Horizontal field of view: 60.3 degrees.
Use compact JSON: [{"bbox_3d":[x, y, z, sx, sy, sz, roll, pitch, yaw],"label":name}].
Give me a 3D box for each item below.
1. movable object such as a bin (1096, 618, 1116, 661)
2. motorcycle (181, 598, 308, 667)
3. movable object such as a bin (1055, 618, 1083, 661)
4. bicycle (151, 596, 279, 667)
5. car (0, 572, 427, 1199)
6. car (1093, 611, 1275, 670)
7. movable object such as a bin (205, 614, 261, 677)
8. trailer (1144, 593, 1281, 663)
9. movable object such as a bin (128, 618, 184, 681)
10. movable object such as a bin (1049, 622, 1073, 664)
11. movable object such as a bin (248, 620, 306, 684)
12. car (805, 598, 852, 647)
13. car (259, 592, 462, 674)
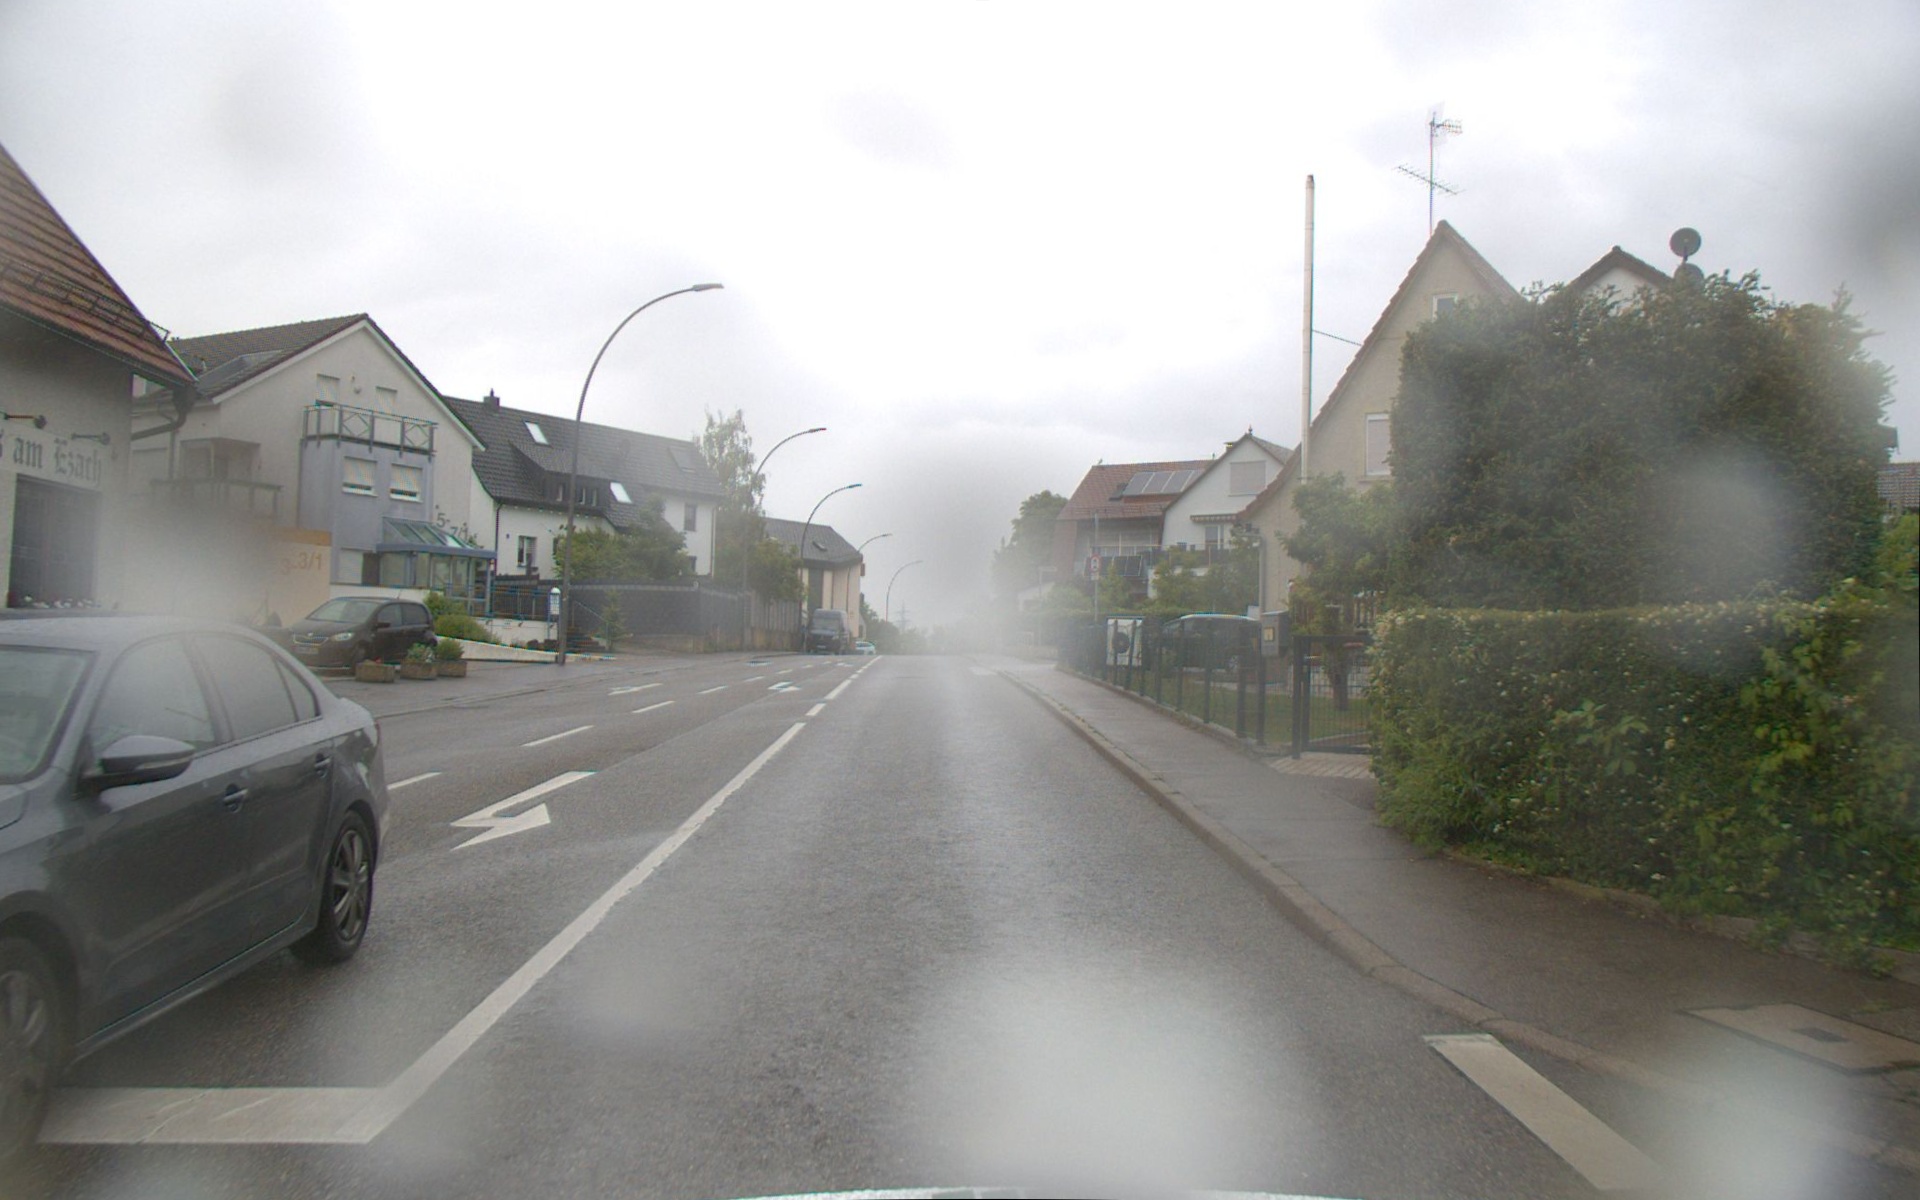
[{"bbox_3d":[3.583,0.965,40.563,0.433,1.039,0.525,-1,-1,9],"label":"movable object such as a bin"},{"bbox_3d":[-13.358,0.611,30.898,2.066,1.133,0.780,4,-1,15],"label":"motorcycle"},{"bbox_3d":[2.678,0.965,40.586,0.518,1.039,0.733,-1,-1,18],"label":"movable object such as a bin"},{"bbox_3d":[-13.584,0.578,30.166,2.053,1.133,0.738,4,-2,15],"label":"bicycle"},{"bbox_3d":[-3.333,0.728,5.380,1.904,1.601,4.225,0,0,-1],"label":"car"},{"bbox_3d":[5.882,1.048,43.342,4.461,1.408,2.001,-1,0,16],"label":"car"},{"bbox_3d":[-12.193,0.761,27.751,0.624,1.050,0.605,-1,-1,12],"label":"movable object such as a bin"},{"bbox_3d":[7.104,0.787,46.569,3.395,1.830,1.681,1,-2,37],"label":"trailer"},{"bbox_3d":[-13.657,0.843,28.101,0.624,1.050,0.605,-1,-1,12],"label":"movable object such as a bin"},{"bbox_3d":[2.583,1.093,42.255,0.614,1.039,0.541,-1,-1,4],"label":"movable object such as a bin"},{"bbox_3d":[-11.418,0.868,27.652,0.624,1.050,0.674,-1,-1,12],"label":"movable object such as a bin"},{"bbox_3d":[-7.750,1.398,98.038,2.051,2.696,5.919,2,-2,2],"label":"car"},{"bbox_3d":[-11.950,0.630,33.214,1.861,1.467,3.830,2,0,17],"label":"car"}]
